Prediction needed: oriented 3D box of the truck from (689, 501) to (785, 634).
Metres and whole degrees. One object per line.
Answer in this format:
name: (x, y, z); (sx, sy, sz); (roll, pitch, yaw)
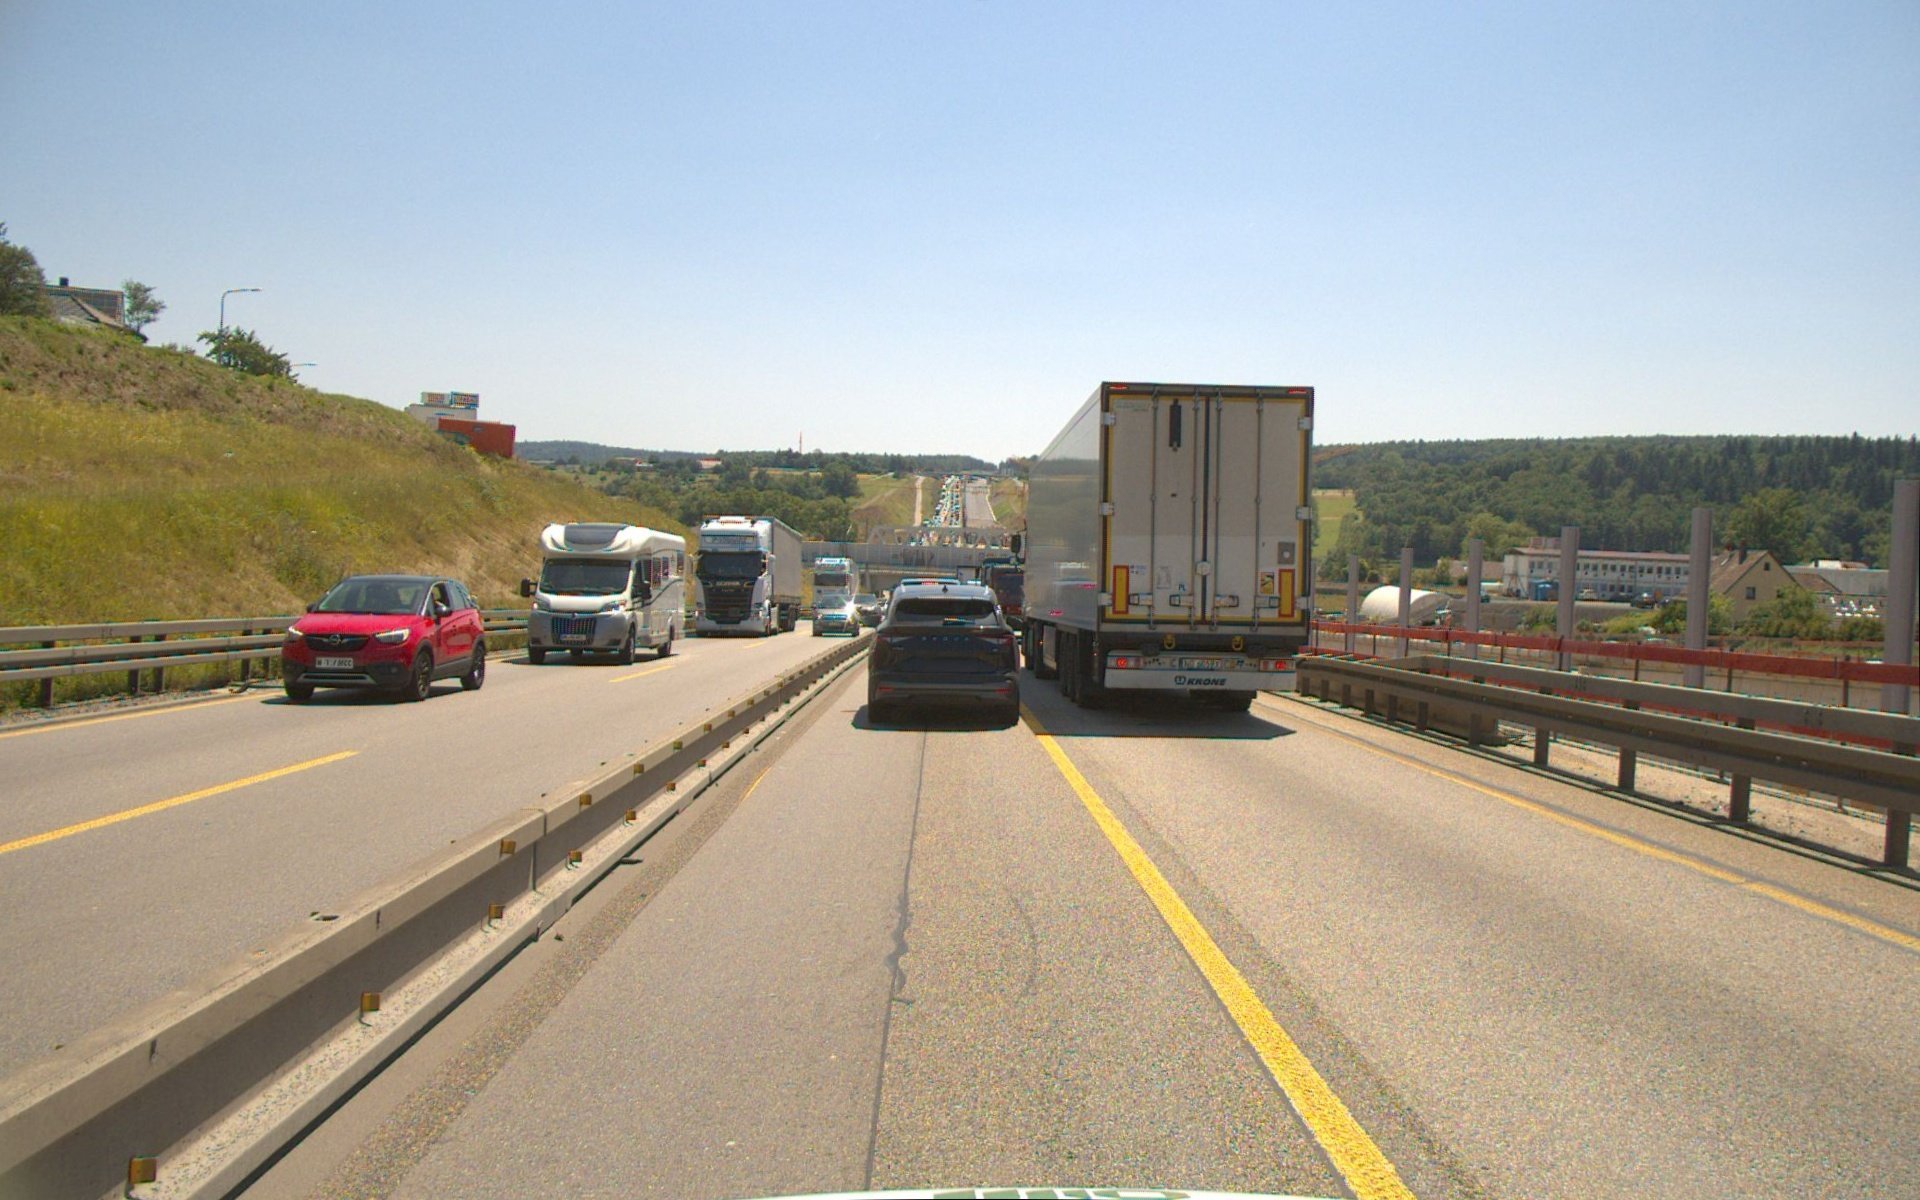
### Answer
truck: (-7.664, -1.078, 57.325); (2.718, 4.361, 4.675); (1, 0, -1)

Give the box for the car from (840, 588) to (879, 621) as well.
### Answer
car: (-5.045, 0.208, 83.605); (1.811, 1.614, 4.173); (1, 0, -1)

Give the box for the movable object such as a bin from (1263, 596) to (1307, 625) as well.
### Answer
movable object such as a bin: (34.669, 1.091, 176.626); (2.828, 2.960, 9.478); (1, 0, 0)

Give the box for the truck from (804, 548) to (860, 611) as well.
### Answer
truck: (-9.077, -1.372, 118.945); (3.177, 4.232, 13.974); (1, 0, -1)

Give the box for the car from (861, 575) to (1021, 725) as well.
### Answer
car: (-0.228, 0.547, 20.129); (1.764, 1.648, 3.297); (1, 0, -1)

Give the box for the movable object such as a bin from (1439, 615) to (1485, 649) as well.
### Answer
movable object such as a bin: (35.101, 2.239, 115.683); (1.953, 2.278, 4.151); (1, 0, 0)

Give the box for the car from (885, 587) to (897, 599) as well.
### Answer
car: (-10.849, -1.117, 259.794); (1.697, 1.825, 3.579); (1, 0, -1)

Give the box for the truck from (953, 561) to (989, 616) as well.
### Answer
truck: (0.808, -0.895, 128.641); (2.467, 4.028, 7.597); (2, 0, -1)

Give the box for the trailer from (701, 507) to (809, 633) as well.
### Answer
trailer: (-7.861, -1.091, 65.295); (2.753, 4.361, 14.031); (1, 0, -1)

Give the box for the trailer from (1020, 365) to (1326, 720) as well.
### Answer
trailer: (2.757, -0.624, 26.472); (2.745, 4.129, 14.112); (1, 0, -1)

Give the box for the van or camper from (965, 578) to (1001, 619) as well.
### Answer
van or camper: (1.326, -0.094, 97.077); (1.953, 2.283, 4.000); (2, 0, 0)

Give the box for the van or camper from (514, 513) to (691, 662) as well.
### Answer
van or camper: (-7.439, -0.263, 35.391); (2.287, 2.826, 7.515); (1, 0, -1)

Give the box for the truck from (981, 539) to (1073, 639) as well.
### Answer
truck: (2.245, -0.316, 59.742); (2.756, 3.190, 12.836); (1, 0, 0)

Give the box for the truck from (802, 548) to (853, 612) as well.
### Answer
truck: (-8.911, -1.326, 111.527); (3.173, 4.233, 4.246); (1, 0, -1)

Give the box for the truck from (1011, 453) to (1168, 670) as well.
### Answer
truck: (2.568, -0.718, 34.143); (2.720, 4.129, 4.903); (1, -1, -1)

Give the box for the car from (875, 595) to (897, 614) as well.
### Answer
car: (-6.668, 0.391, 148.902); (1.775, 1.666, 4.362); (1, 0, 0)

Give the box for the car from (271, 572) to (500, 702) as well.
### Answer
car: (-7.644, 0.440, 22.443); (1.682, 1.579, 4.263); (1, 0, -1)

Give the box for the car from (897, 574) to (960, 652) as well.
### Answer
car: (-0.742, 0.301, 40.982); (1.444, 1.826, 3.298); (1, 0, 0)

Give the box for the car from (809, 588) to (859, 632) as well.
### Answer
car: (-4.552, 0.341, 60.000); (1.596, 1.505, 3.379); (1, 0, -1)
